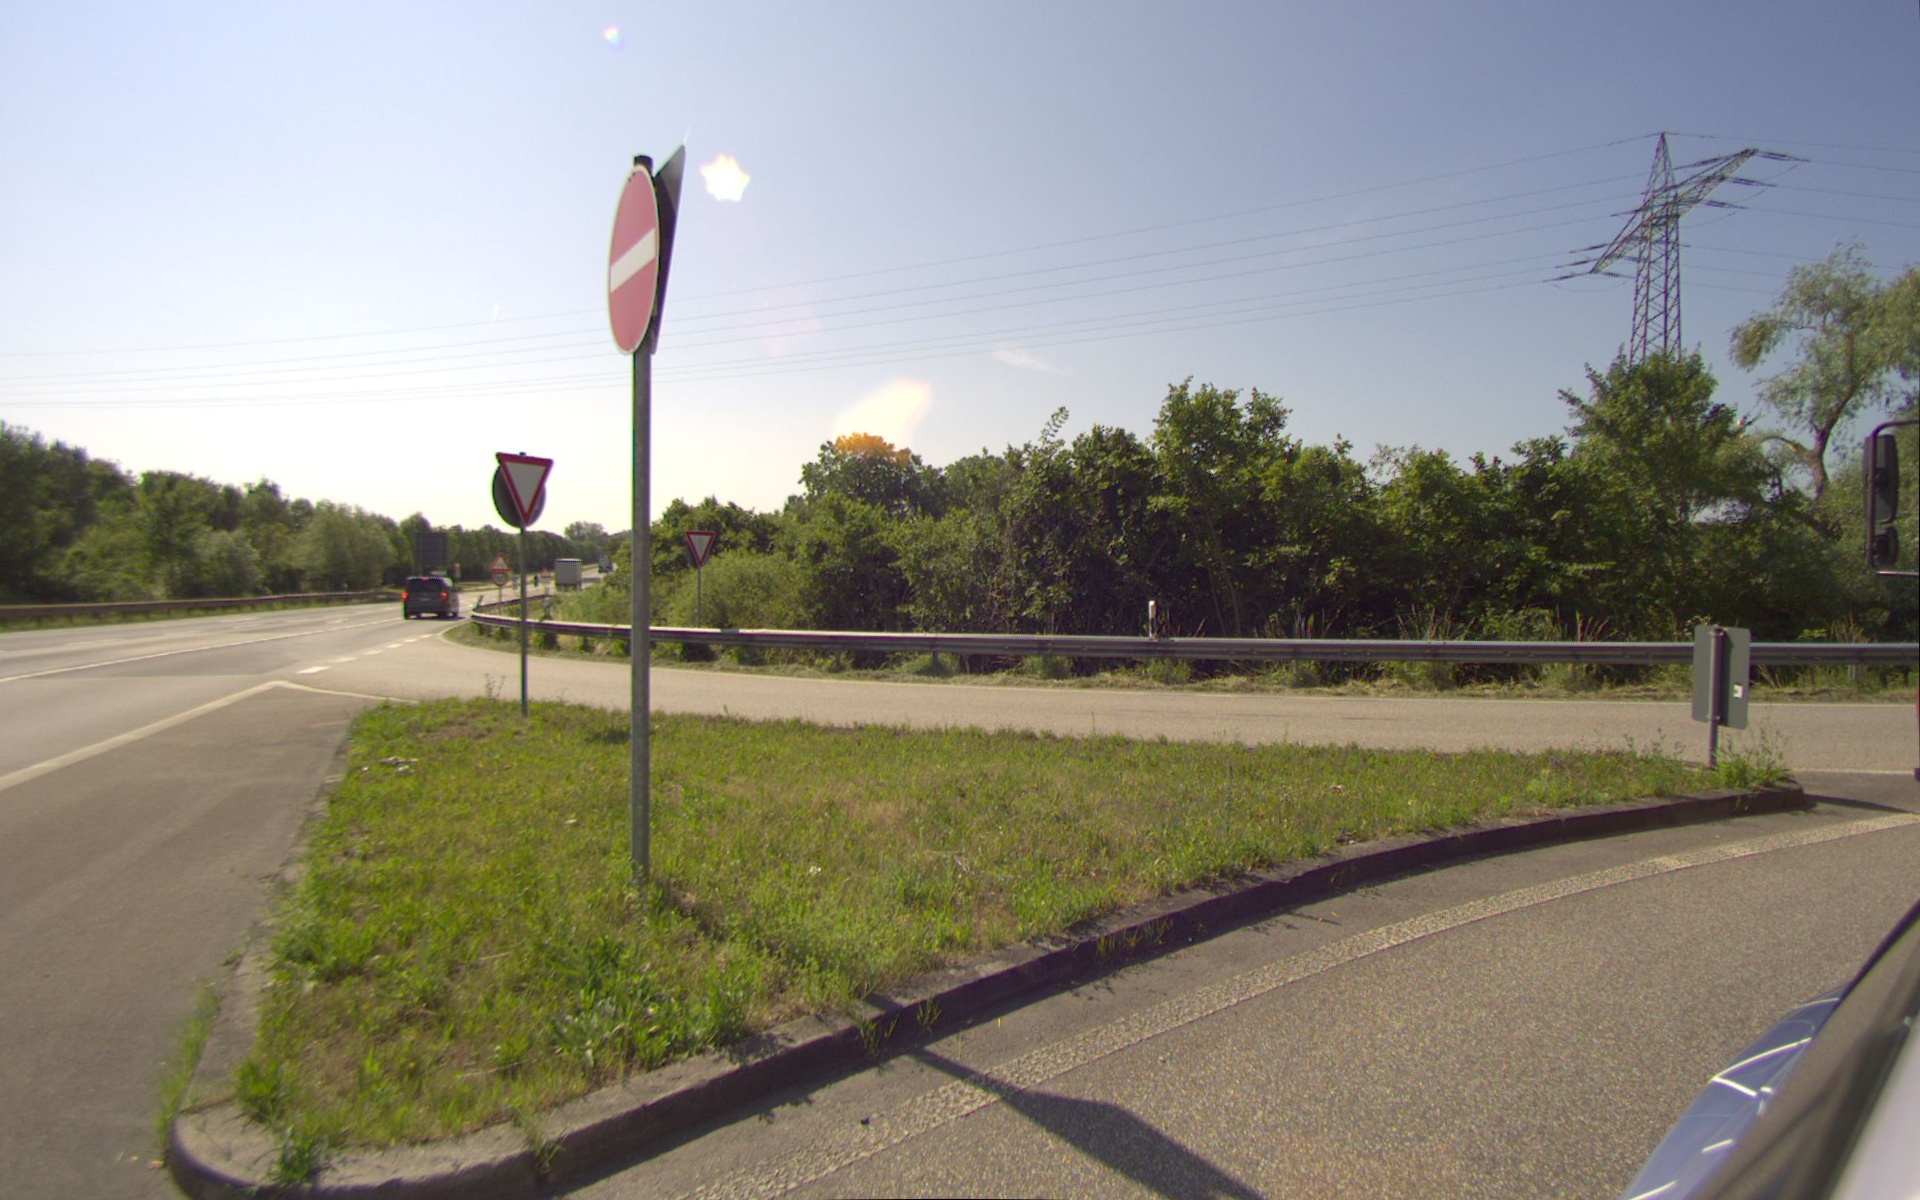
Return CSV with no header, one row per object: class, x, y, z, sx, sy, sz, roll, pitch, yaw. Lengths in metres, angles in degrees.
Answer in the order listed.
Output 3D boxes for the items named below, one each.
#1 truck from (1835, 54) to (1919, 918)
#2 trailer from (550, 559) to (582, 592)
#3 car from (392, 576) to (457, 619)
truck,8.674,-0.478,5.277,9.070,3.707,2.696,0,0,-25
trailer,-51.803,-3.263,133.426,2.868,4.060,13.447,2,1,-17
car,-25.010,-0.143,47.448,1.958,1.903,5.004,0,0,-19
